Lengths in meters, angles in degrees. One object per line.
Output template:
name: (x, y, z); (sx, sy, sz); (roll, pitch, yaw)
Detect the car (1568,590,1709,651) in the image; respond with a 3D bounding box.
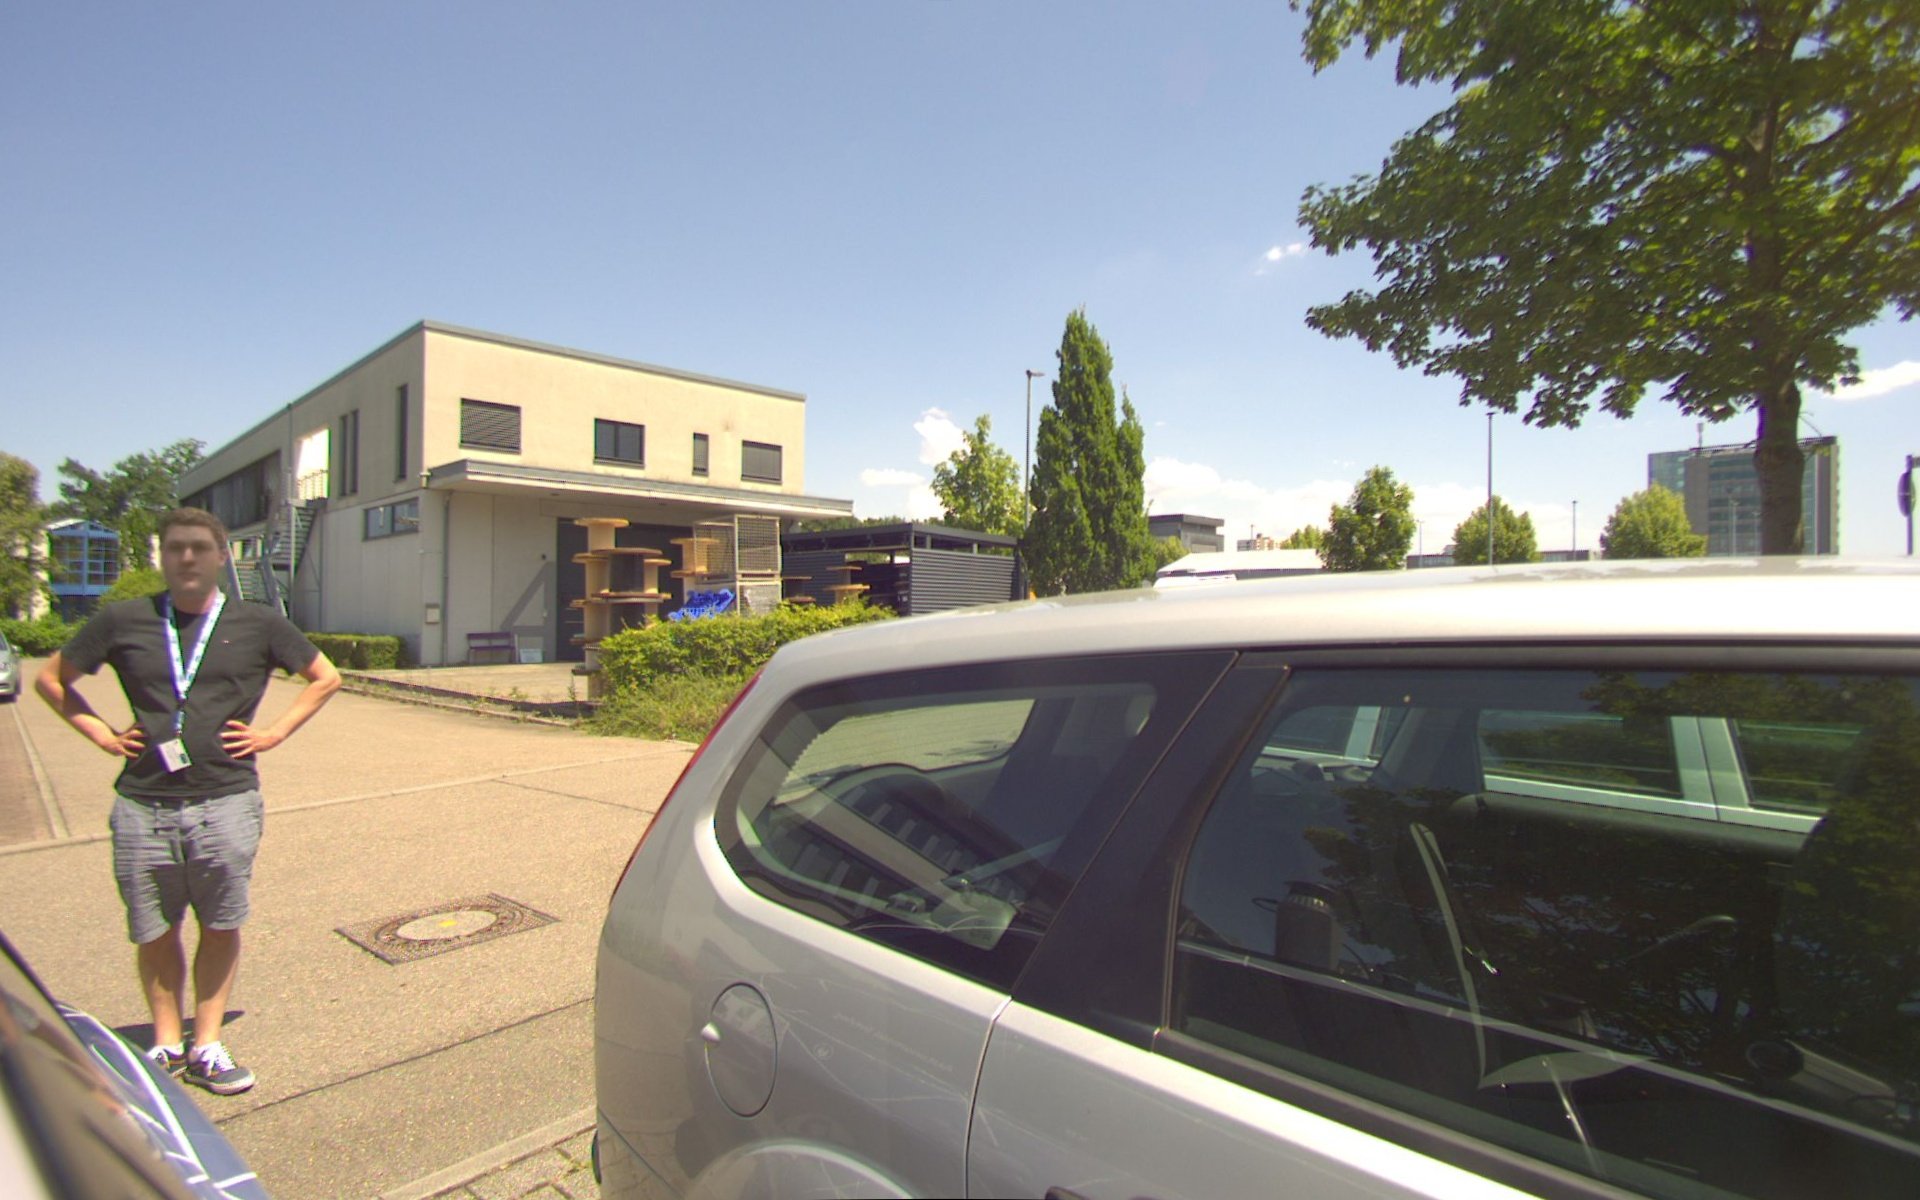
car: (18.606, 0.532, 27.718); (3.932, 1.533, 1.658); (-1, 0, -31)

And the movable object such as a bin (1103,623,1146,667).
movable object such as a bin: (3.753, 1.018, 23.099); (0.581, 0.977, 0.761); (-1, -1, -40)

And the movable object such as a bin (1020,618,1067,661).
movable object such as a bin: (2.215, 1.042, 26.740); (0.972, 1.092, 0.761); (-1, -1, -40)

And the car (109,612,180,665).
car: (-30.052, 1.362, 37.267); (1.761, 1.817, 4.004); (-1, 0, -43)

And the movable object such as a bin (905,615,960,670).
movable object such as a bin: (-0.657, 1.004, 24.337); (1.056, 1.280, 0.761); (-1, -1, -40)

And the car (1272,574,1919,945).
car: (3.755, 0.635, 5.041); (3.886, 1.459, 1.632); (-1, -1, 38)

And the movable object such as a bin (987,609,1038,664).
movable object such as a bin: (1.362, 0.925, 26.060); (1.056, 1.346, 0.761); (-1, -1, -40)

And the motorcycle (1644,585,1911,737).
motorcycle: (8.046, 0.583, 10.076); (1.986, 1.400, 0.478); (-2, -1, 37)

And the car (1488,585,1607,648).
car: (17.410, 0.453, 29.929); (3.936, 1.751, 1.775); (-1, 0, -39)

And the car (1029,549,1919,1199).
car: (2.282, 0.635, 3.110); (3.886, 1.490, 1.632); (-1, -1, 38)

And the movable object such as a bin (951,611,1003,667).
movable object such as a bin: (0.421, 0.954, 25.115); (1.056, 1.346, 0.761); (-1, -1, -40)

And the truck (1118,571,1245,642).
truck: (9.196, 0.254, 41.623); (5.614, 2.692, 2.420); (-1, -1, -45)

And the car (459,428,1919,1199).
car: (1.333, 0.640, 0.989); (4.345, 1.490, 1.702); (-1, -1, 41)

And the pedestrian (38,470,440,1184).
pedestrian: (-2.296, 0.585, 3.226); (0.904, 1.834, 0.849); (-2, -1, 41)

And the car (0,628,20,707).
car: (-19.064, 1.255, 19.187); (1.686, 1.402, 3.816); (1, -1, -41)
